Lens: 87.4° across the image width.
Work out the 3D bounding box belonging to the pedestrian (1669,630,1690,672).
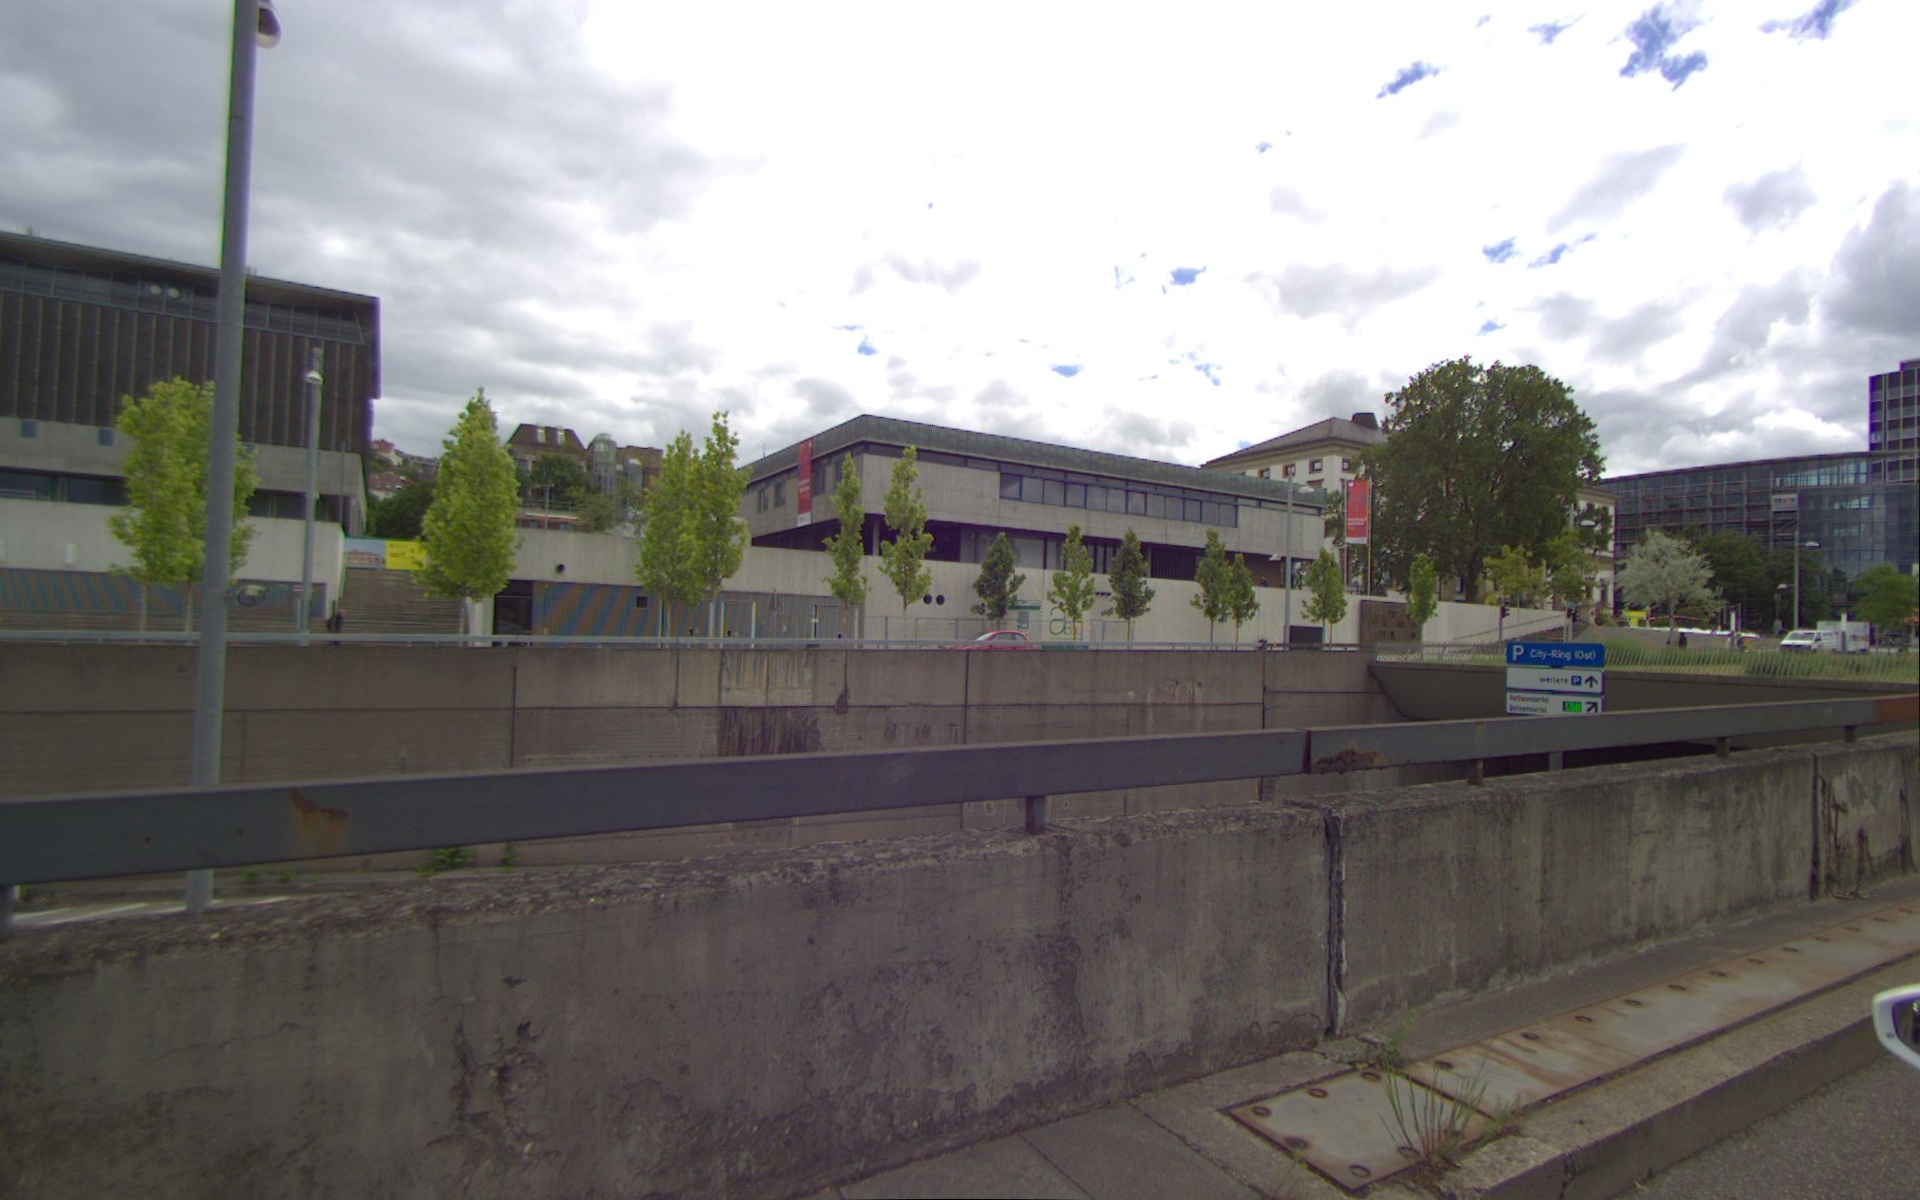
[{"bbox_3d":[35.454,2.499,49.488,0.779,2.040,0.834,-1,-1,33],"label":"pedestrian"}]

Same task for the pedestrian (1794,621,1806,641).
[{"bbox_3d":[88.144,3.231,105.353,0.783,2.040,0.735,0,-1,-29],"label":"pedestrian"}]

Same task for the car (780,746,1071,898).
[{"bbox_3d":[-0.614,4.024,18.967,5.054,2.040,2.208,2,-1,-29],"label":"car"}]

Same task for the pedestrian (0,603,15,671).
[{"bbox_3d":[-29.290,1.119,30.342,0.777,2.040,0.741,0,-1,2],"label":"pedestrian"}]

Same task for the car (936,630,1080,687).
[{"bbox_3d":[1.728,2.035,35.607,4.681,1.879,2.164,2,-1,-31],"label":"car"}]

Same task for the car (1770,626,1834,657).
[{"bbox_3d":[59.072,2.866,70.480,4.635,2.040,1.985,0,0,-30],"label":"car"}]

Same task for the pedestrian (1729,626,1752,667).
[{"bbox_3d":[39.994,2.392,51.461,0.623,2.041,0.724,-4,2,-37],"label":"pedestrian"}]

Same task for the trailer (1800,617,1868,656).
[{"bbox_3d":[63.468,2.636,72.951,5.443,2.640,2.028,1,1,-30],"label":"trailer"}]

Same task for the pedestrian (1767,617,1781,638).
[{"bbox_3d":[77.660,2.617,95.798,1.103,2.040,0.734,0,-1,-35],"label":"pedestrian"}]

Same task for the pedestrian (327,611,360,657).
[{"bbox_3d":[-22.554,1.241,36.747,0.777,1.664,0.740,0,-1,-2],"label":"pedestrian"}]
